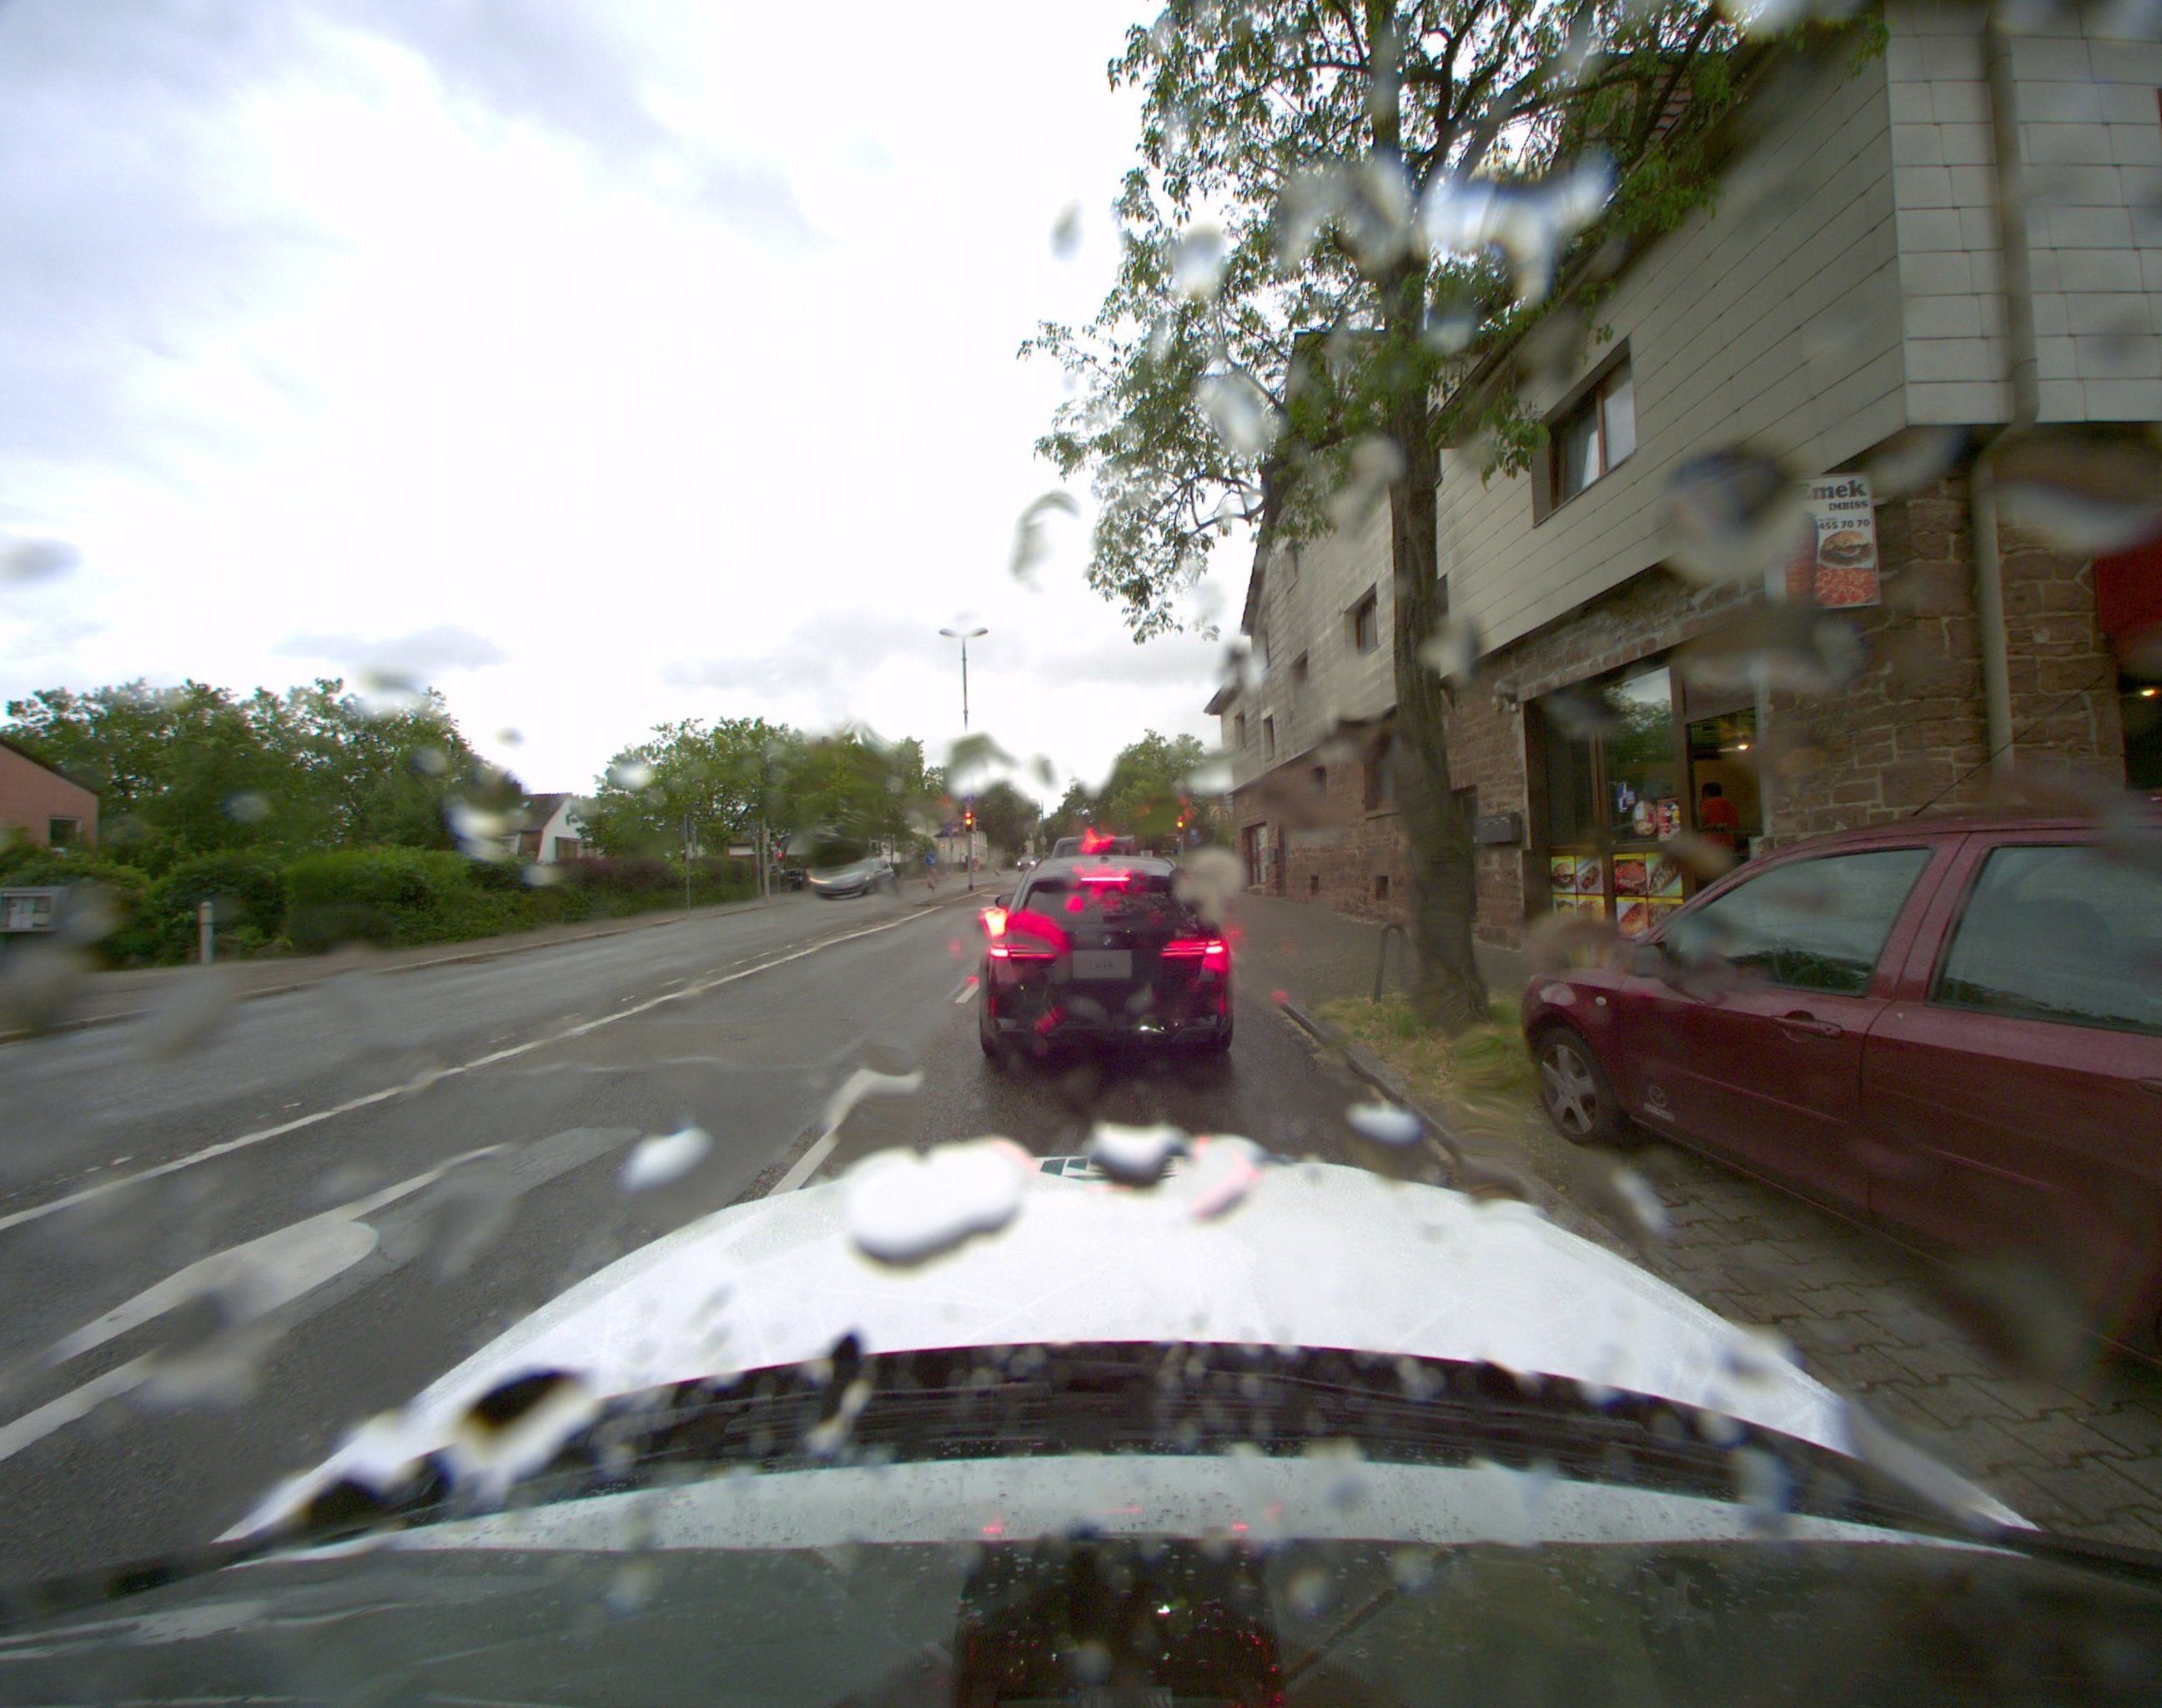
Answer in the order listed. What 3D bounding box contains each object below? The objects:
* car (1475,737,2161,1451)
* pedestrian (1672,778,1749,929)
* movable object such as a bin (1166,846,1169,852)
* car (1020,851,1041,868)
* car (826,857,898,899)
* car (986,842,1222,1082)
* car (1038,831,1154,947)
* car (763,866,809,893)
[{"bbox_3d":[3.063,0.537,2.712,1.606,1.504,3.754,0,-2,-1],"label":"car"},{"bbox_3d":[7.099,-0.004,9.200,0.490,1.660,0.455,0,-1,1],"label":"pedestrian"},{"bbox_3d":[12.239,-0.683,115.198,0.446,0.906,0.465,-1,-1,17],"label":"movable object such as a bin"},{"bbox_3d":[-5.128,0.524,83.096,1.893,1.577,4.500,-2,1,-1],"label":"car"},{"bbox_3d":[-9.371,0.992,35.195,1.903,1.590,4.315,-3,0,-1],"label":"car"},{"bbox_3d":[0.122,0.708,7.026,1.519,1.534,3.530,0,-1,-1],"label":"car"},{"bbox_3d":[0.198,0.563,14.651,1.807,1.809,3.754,0,-1,-1],"label":"car"},{"bbox_3d":[-20.976,1.757,58.024,1.803,1.551,4.001,0,3,0],"label":"car"}]
